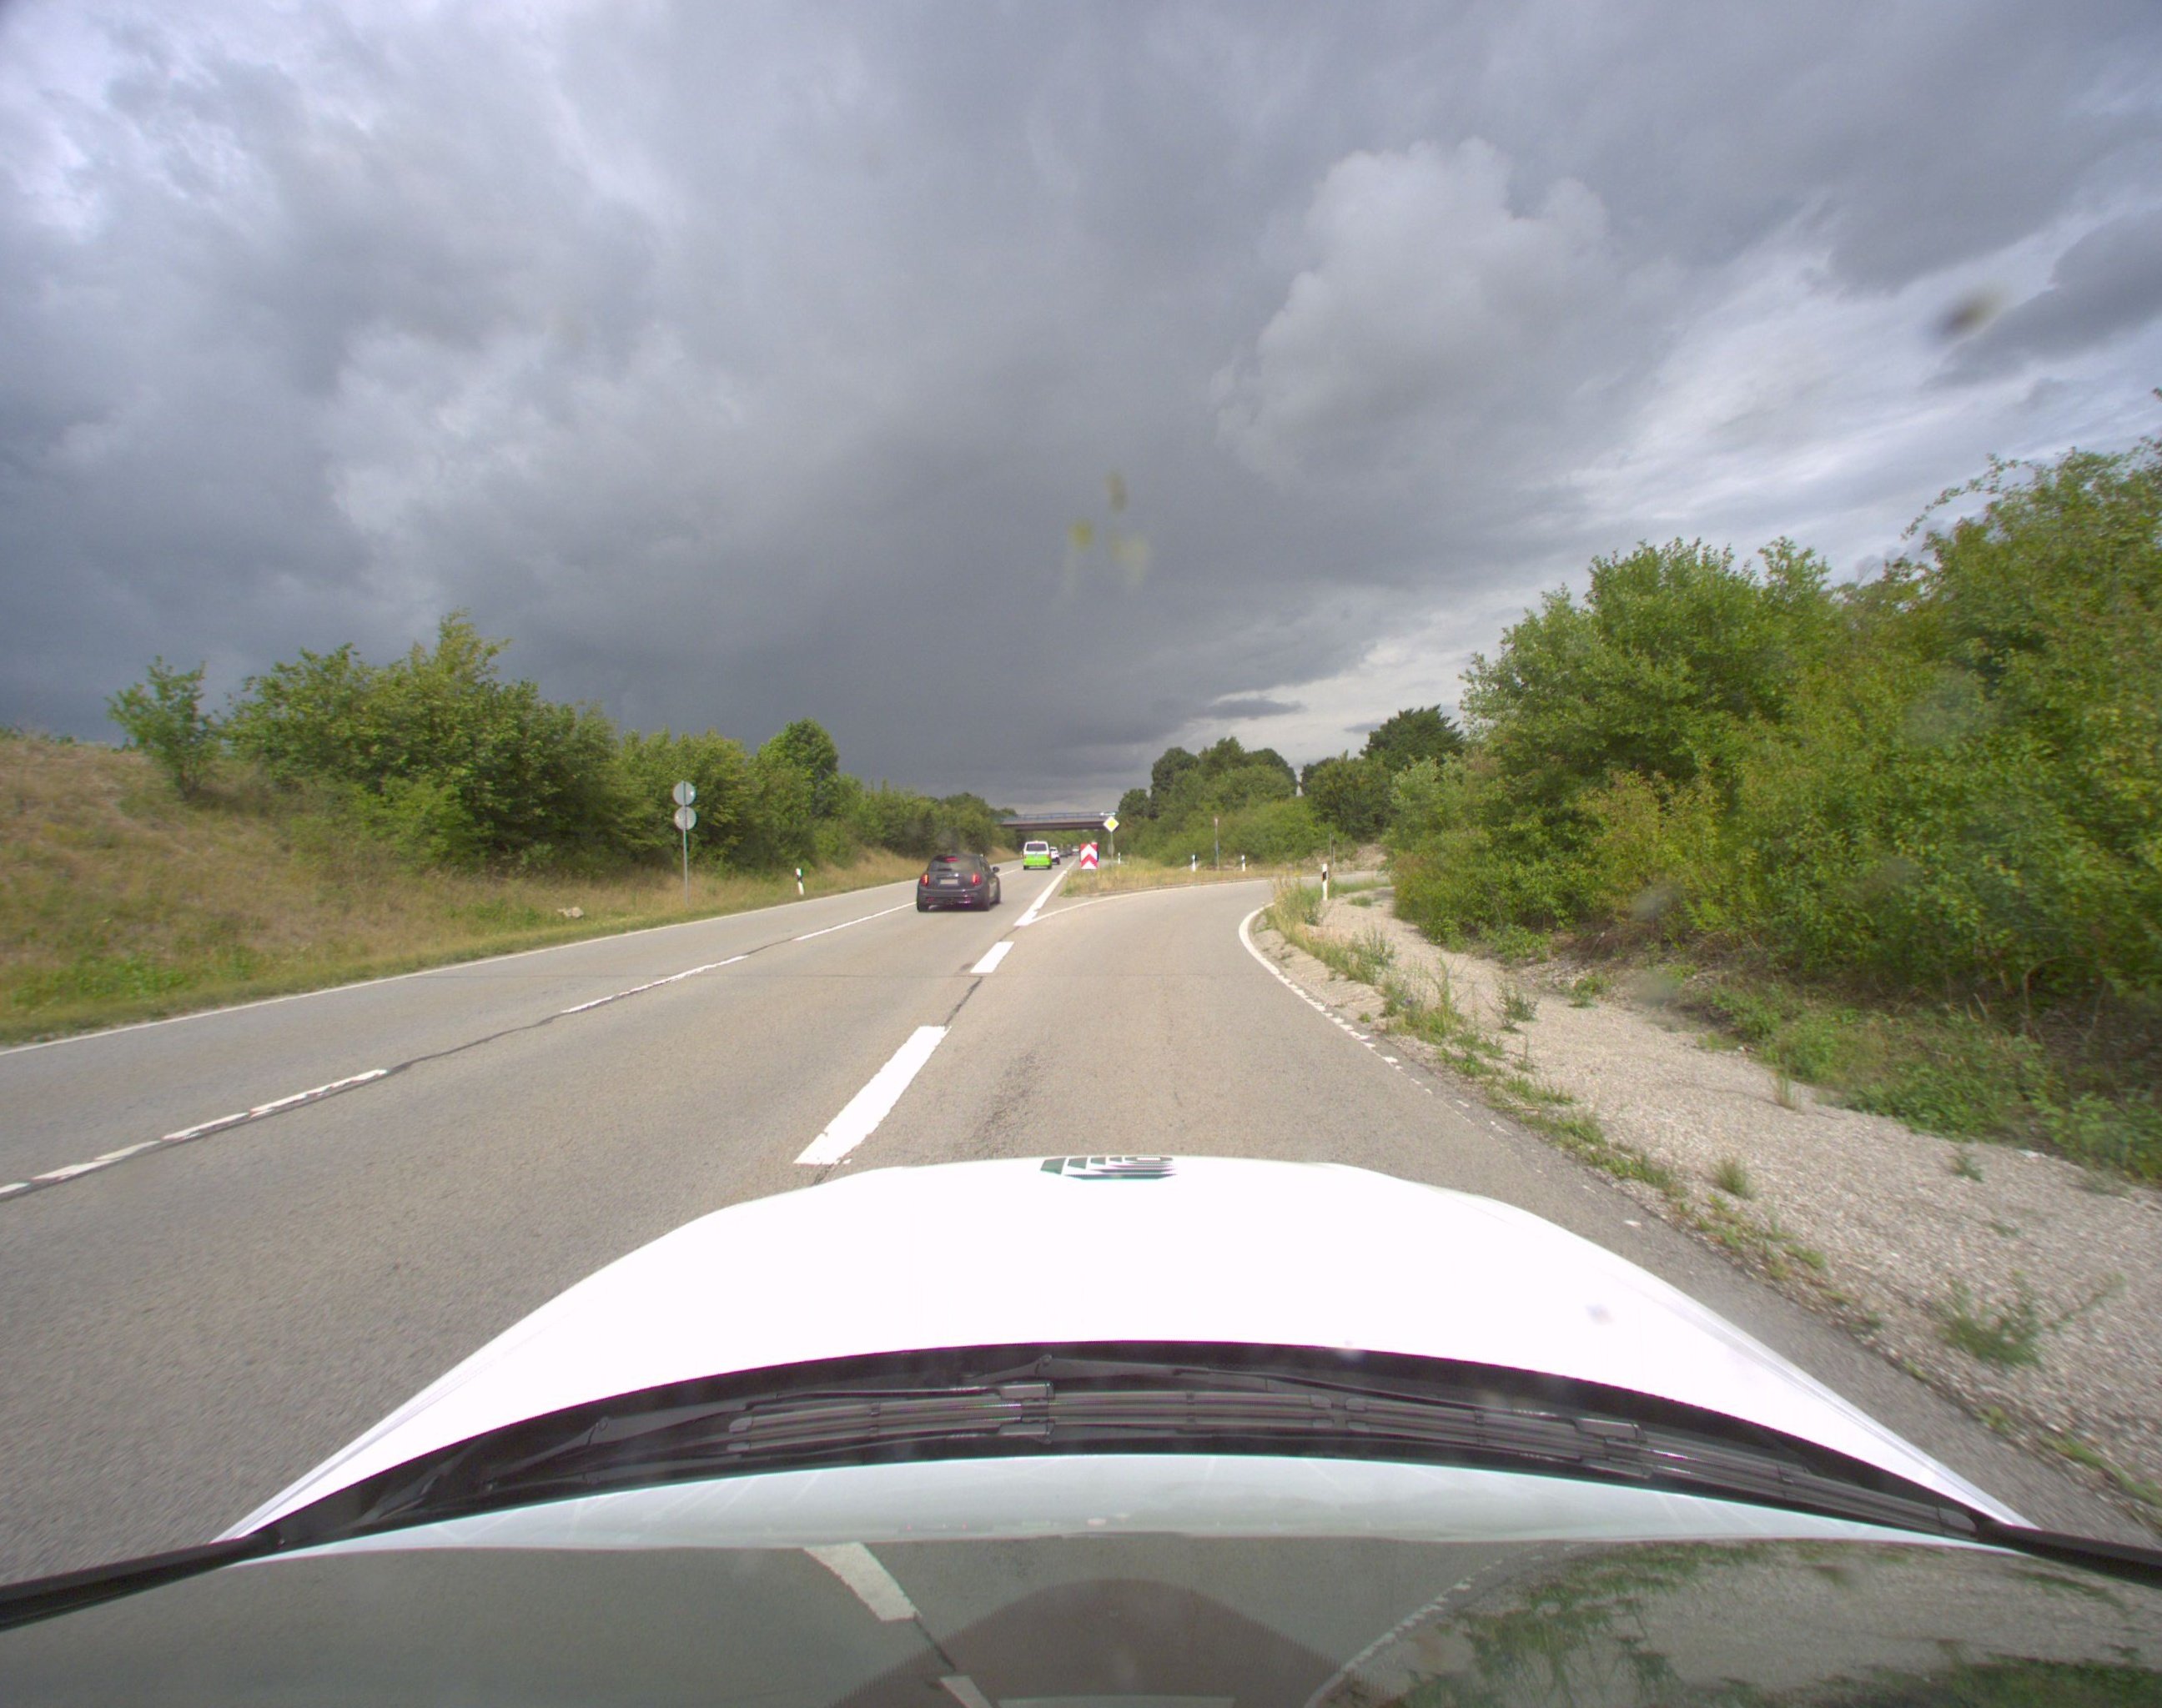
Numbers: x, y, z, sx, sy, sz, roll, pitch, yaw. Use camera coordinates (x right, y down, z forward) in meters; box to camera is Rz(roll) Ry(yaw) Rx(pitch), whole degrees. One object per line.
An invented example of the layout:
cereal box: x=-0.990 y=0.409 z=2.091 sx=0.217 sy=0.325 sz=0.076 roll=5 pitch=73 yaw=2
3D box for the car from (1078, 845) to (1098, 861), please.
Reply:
car: x=0.712 y=-0.114 z=85.297 sx=1.988 sy=1.552 sz=3.997 roll=0 pitch=0 yaw=-2

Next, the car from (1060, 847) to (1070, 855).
car: x=-2.941 y=-0.528 z=148.222 sx=1.661 sy=1.403 sz=4.000 roll=-1 pitch=1 yaw=0

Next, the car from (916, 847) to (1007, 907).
car: x=-3.018 y=0.534 z=21.318 sx=1.751 sy=1.427 sz=4.000 roll=0 pitch=0 yaw=0

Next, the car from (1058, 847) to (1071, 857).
car: x=-2.440 y=-0.281 z=118.739 sx=1.661 sy=1.403 sz=4.002 roll=-1 pitch=1 yaw=2

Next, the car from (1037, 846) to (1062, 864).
car: x=-2.759 y=0.069 z=72.390 sx=1.987 sy=1.552 sz=4.000 roll=0 pitch=0 yaw=0

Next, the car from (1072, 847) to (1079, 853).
car: x=-1.344 y=-1.019 z=202.891 sx=1.661 sy=1.403 sz=4.000 roll=-1 pitch=1 yaw=1

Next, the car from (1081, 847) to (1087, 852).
car: x=0.845 y=-1.228 z=226.106 sx=1.660 sy=1.403 sz=4.003 roll=-1 pitch=1 yaw=3

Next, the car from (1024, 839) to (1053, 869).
car: x=-2.955 y=-0.011 z=57.011 sx=1.813 sy=2.054 sz=4.000 roll=0 pitch=0 yaw=0
